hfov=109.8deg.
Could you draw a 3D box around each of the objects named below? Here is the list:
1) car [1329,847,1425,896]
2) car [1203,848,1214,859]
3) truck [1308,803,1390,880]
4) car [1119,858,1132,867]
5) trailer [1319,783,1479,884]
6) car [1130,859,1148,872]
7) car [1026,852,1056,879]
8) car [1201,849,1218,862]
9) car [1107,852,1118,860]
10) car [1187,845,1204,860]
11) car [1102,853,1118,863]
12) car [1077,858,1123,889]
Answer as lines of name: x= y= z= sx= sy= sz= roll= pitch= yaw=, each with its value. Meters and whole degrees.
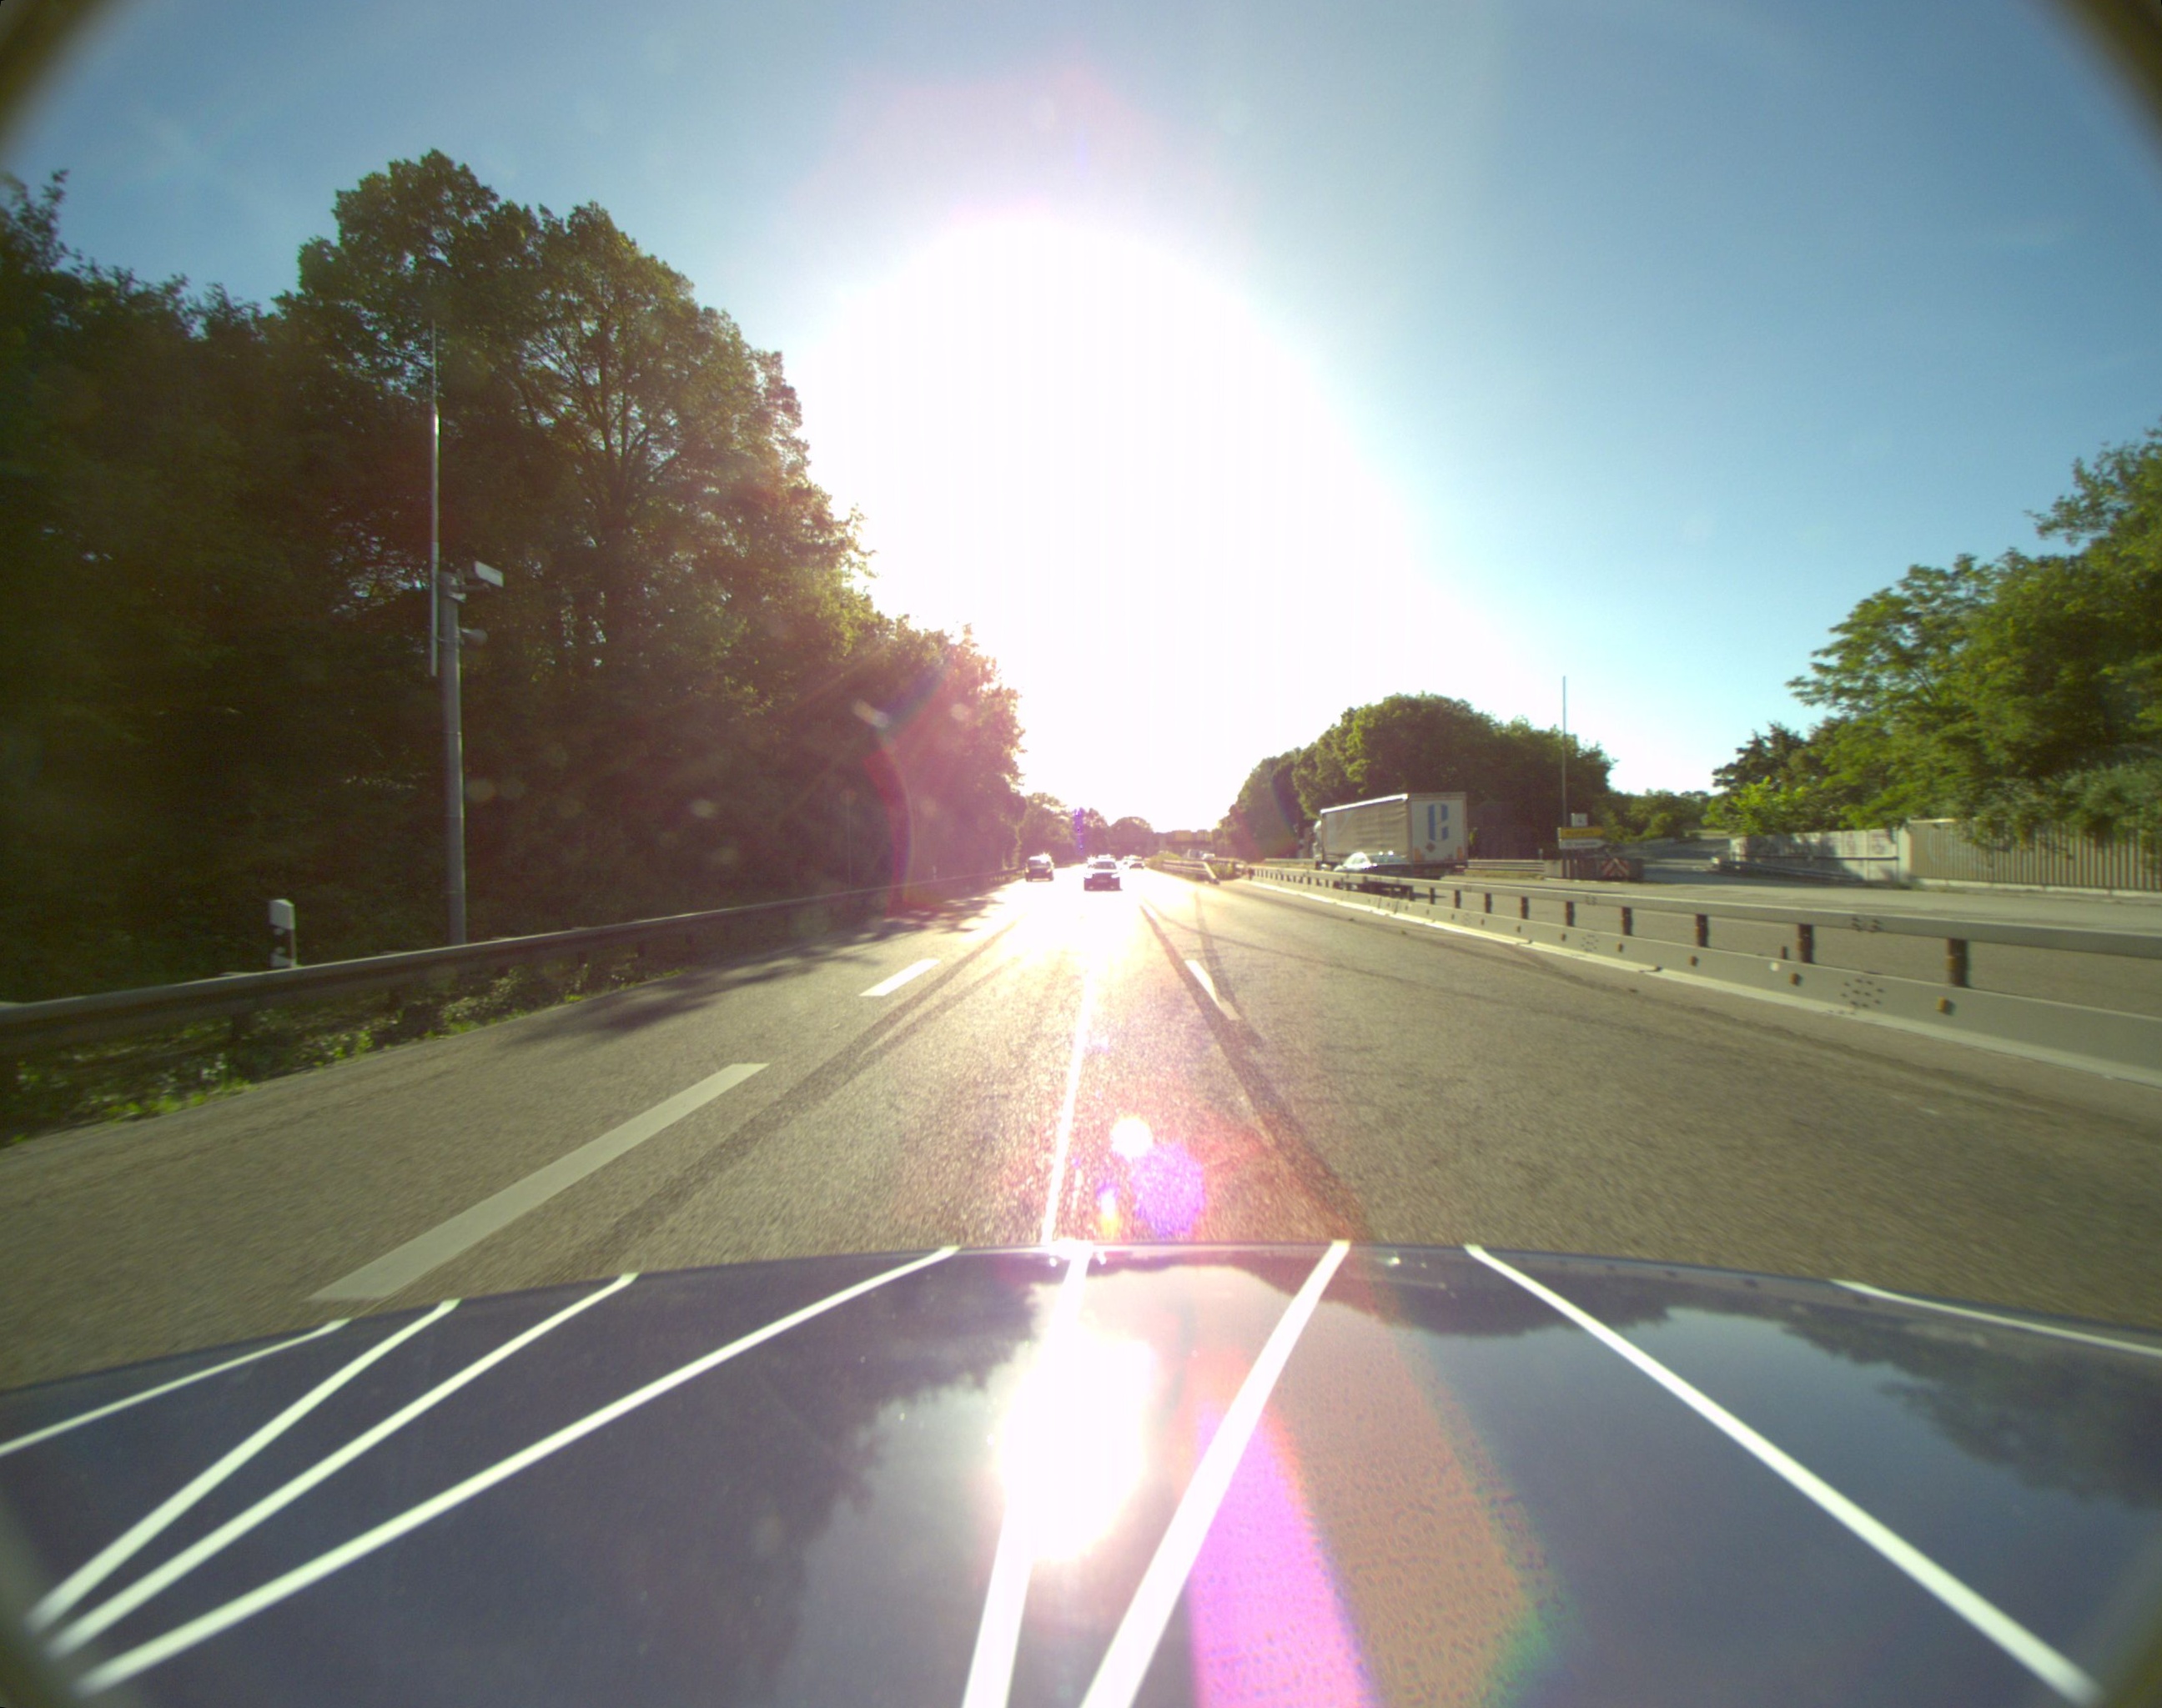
car: x=11.429 y=0.665 z=29.730 sx=1.998 sy=1.648 sz=4.940 roll=-3 pitch=-1 yaw=3
car: x=27.454 y=-0.118 z=164.013 sx=2.080 sy=2.267 sz=5.378 roll=-3 pitch=-1 yaw=8
truck: x=16.182 y=-0.682 z=46.379 sx=2.742 sy=4.236 sz=6.388 roll=-3 pitch=-1 yaw=2
car: x=7.339 y=1.338 z=125.795 sx=1.998 sy=1.406 sz=4.833 roll=-1 pitch=0 yaw=5
trailer: x=15.938 y=-0.781 z=39.920 sx=2.754 sy=4.254 sz=14.088 roll=-3 pitch=-1 yaw=2
car: x=6.677 y=1.274 z=88.216 sx=1.998 sy=1.406 sz=4.832 roll=-1 pitch=0 yaw=4
car: x=-2.630 y=0.794 z=51.236 sx=1.746 sy=1.652 sz=4.000 roll=-3 pitch=-1 yaw=0
car: x=18.729 y=0.273 z=110.514 sx=1.998 sy=1.772 sz=4.787 roll=-3 pitch=-1 yaw=5
car: x=6.315 y=0.391 z=152.884 sx=1.998 sy=1.406 sz=4.833 roll=-1 pitch=0 yaw=5
car: x=20.695 y=-0.221 z=137.507 sx=2.152 sy=2.595 sz=6.053 roll=-3 pitch=-1 yaw=1
car: x=4.089 y=0.560 z=107.957 sx=1.998 sy=1.406 sz=4.833 roll=-1 pitch=0 yaw=5
car: x=1.005 y=0.916 z=37.232 sx=1.998 sy=1.406 sz=4.832 roll=0 pitch=0 yaw=4
